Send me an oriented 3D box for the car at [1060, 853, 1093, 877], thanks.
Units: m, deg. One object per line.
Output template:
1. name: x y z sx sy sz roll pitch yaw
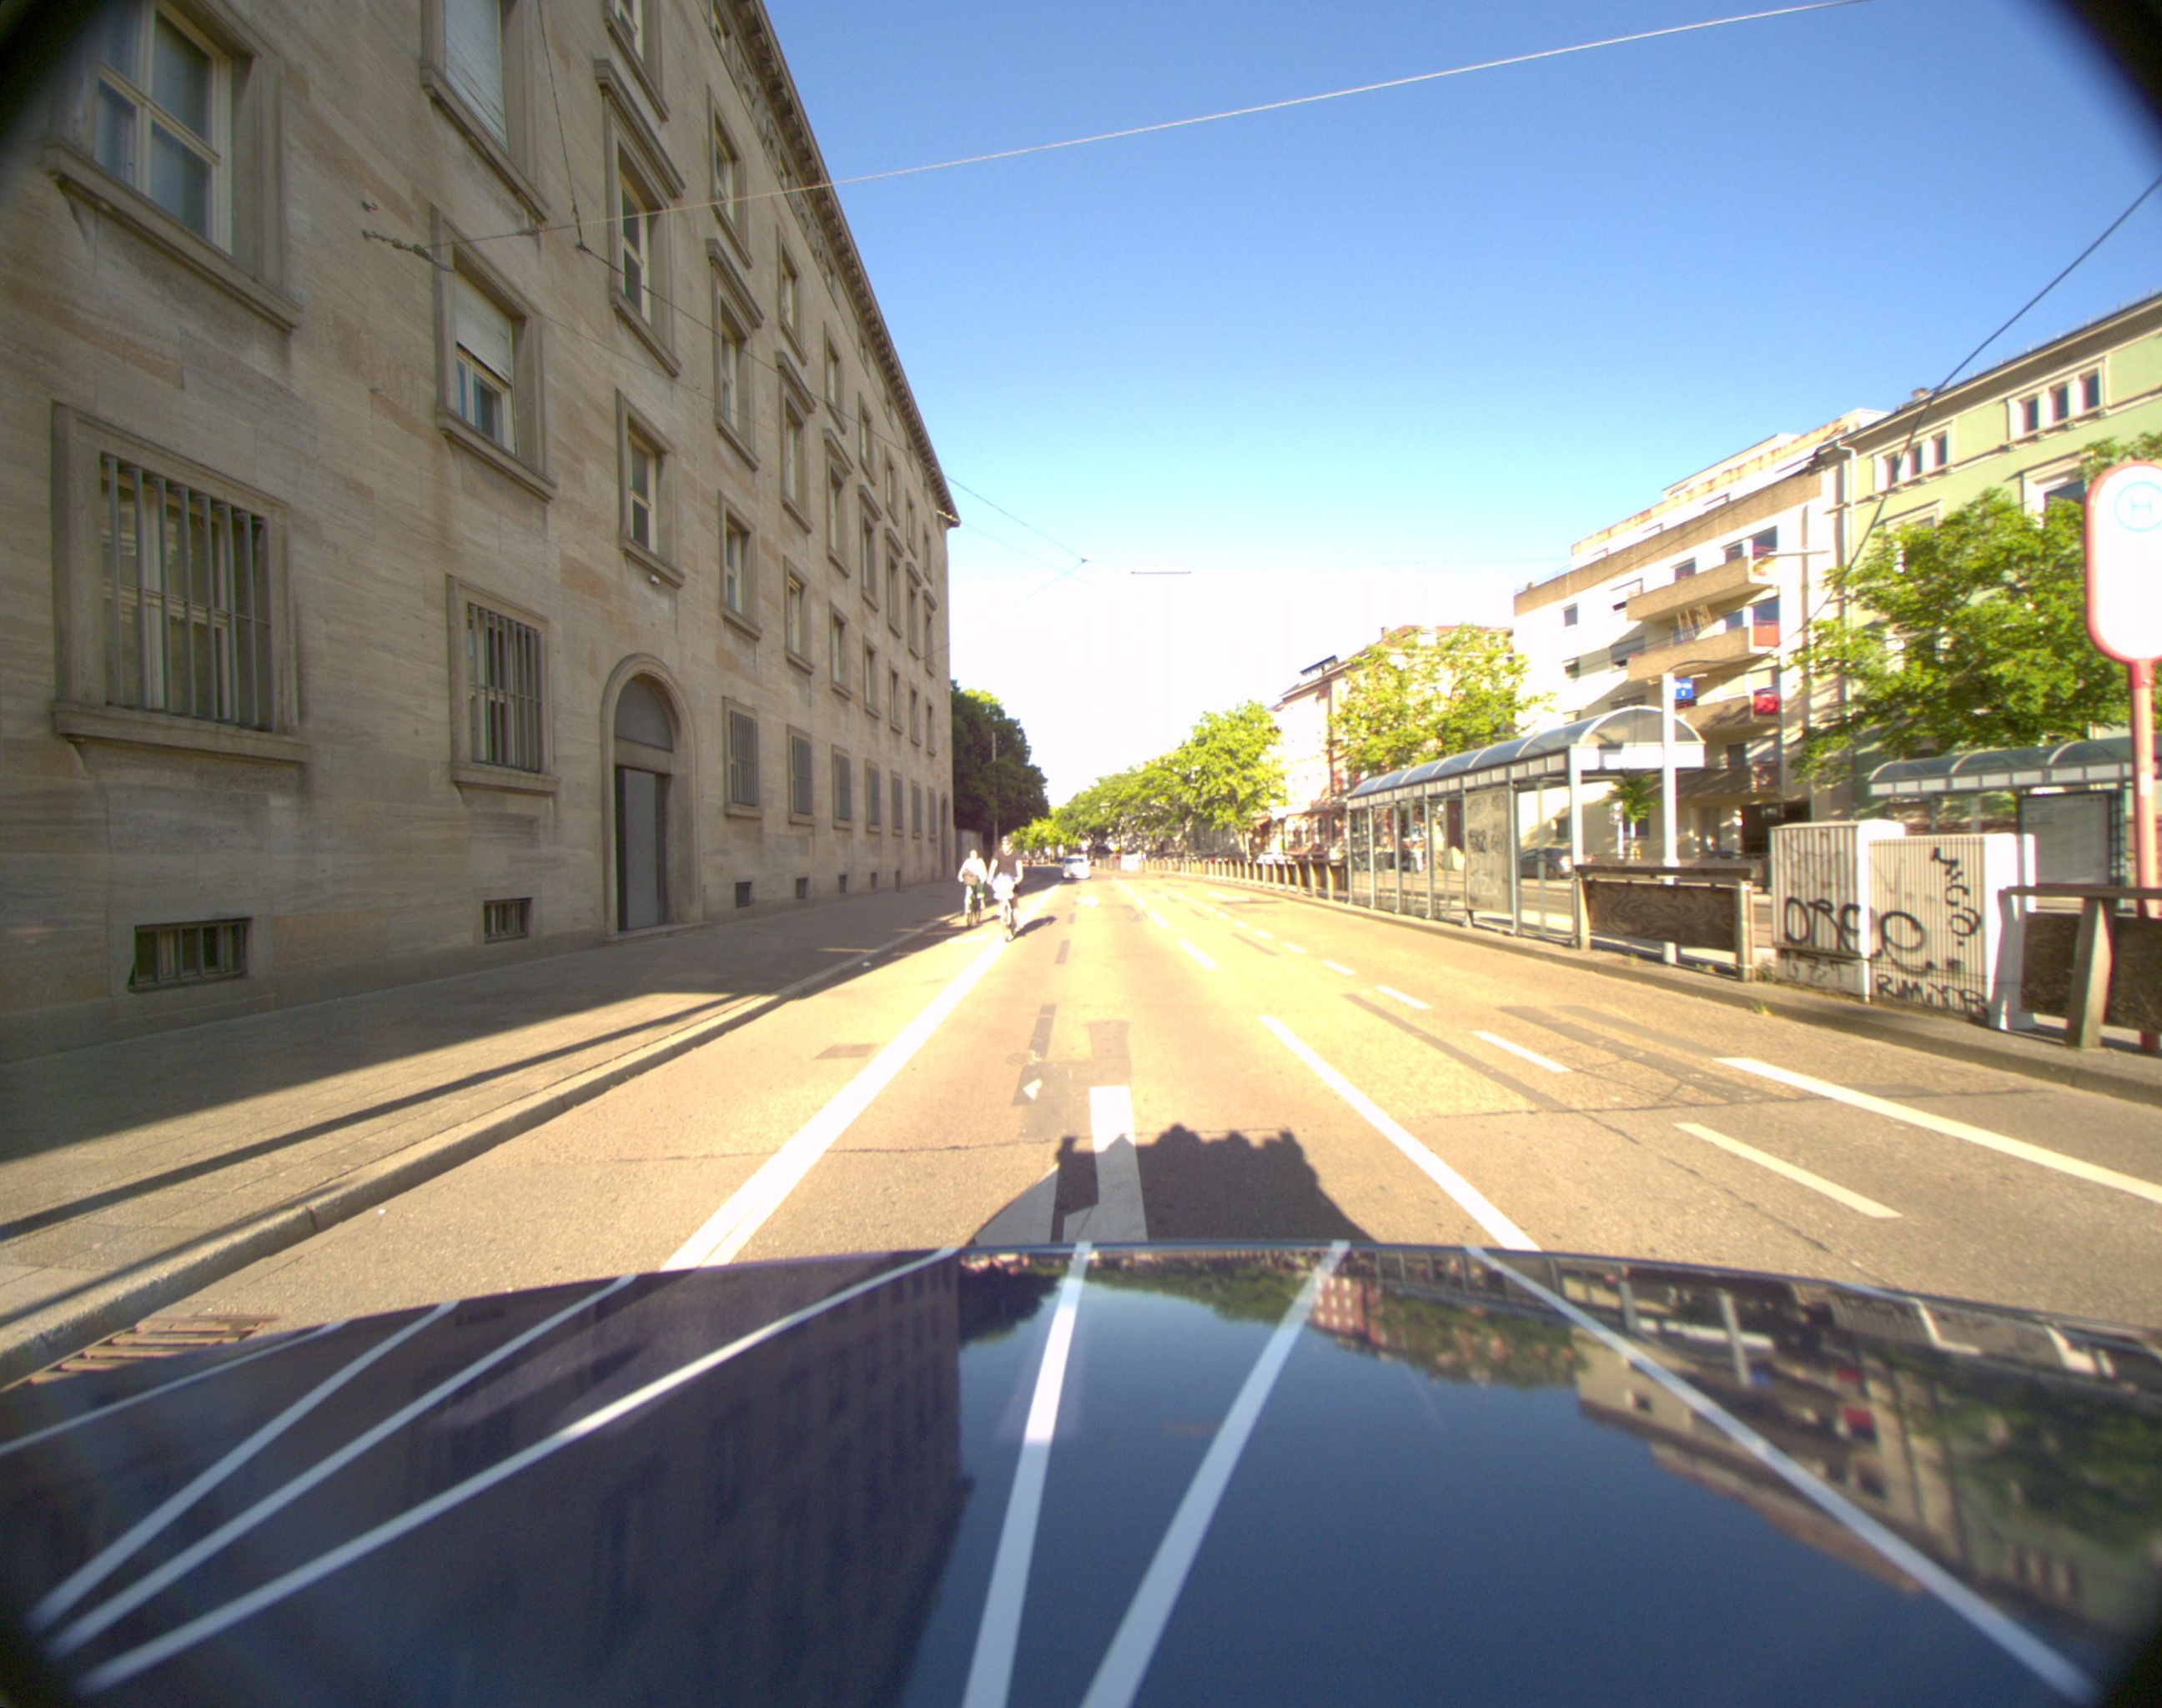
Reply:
1. car: -0.345 0.677 48.636 1.771 1.429 3.832 -1 0 -5

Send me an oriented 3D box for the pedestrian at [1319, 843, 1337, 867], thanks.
1. pedestrian: 17.966 0.056 55.277 0.855 1.710 1.019 -1 1 -8

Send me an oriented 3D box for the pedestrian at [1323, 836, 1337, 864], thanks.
1. pedestrian: 19.397 -0.311 59.210 0.812 2.194 0.756 -1 1 -4

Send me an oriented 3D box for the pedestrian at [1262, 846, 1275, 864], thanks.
1. pedestrian: 17.535 0.080 71.041 0.869 1.619 0.890 -1 1 -15

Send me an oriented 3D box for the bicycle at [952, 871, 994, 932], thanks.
1. bicycle: -2.400 1.022 17.004 0.625 1.214 1.659 -3 1 1

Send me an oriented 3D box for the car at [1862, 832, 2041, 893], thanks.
1. car: 24.796 0.213 21.676 4.002 1.573 1.761 -1 0 -14

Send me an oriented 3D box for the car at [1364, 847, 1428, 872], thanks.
1. car: 18.482 0.328 44.706 1.609 1.388 3.996 -1 0 -9

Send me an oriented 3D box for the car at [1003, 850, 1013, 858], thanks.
1. car: -17.945 0.016 187.323 2.001 1.789 3.995 -1 0 -13

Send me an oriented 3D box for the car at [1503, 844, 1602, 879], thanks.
1. car: 20.934 0.311 33.927 1.654 1.419 3.737 -1 0 -11

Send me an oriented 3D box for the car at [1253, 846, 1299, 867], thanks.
1. car: 16.350 0.216 63.510 4.134 1.698 1.848 -1 1 -45

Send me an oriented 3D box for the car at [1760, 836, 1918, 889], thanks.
1. car: 24.085 0.243 24.185 4.002 1.573 1.761 -1 0 -14

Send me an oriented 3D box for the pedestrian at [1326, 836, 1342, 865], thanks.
1. pedestrian: 19.232 -0.288 57.769 0.813 2.194 0.756 -1 1 -10

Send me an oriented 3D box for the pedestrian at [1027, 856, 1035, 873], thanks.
1. pedestrian: -3.865 0.803 58.836 0.548 1.327 0.587 -1 1 7

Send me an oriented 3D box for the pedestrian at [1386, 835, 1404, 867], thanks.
1. pedestrian: 21.244 -0.208 51.469 0.813 2.194 0.756 -1 1 -10

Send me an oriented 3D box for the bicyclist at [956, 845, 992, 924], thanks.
1. bicyclist: -2.415 0.674 17.192 0.625 1.729 0.688 -3 1 1

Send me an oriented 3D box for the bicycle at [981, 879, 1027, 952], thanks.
1. bicycle: -1.363 1.071 13.715 0.625 1.167 1.566 -1 0 1

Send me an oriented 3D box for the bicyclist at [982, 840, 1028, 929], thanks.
1. bicyclist: -1.372 0.541 13.878 0.728 1.570 0.775 -1 1 1

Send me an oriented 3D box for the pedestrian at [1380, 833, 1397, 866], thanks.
1. pedestrian: 21.192 -0.304 52.422 0.813 2.194 0.756 -1 1 -10
